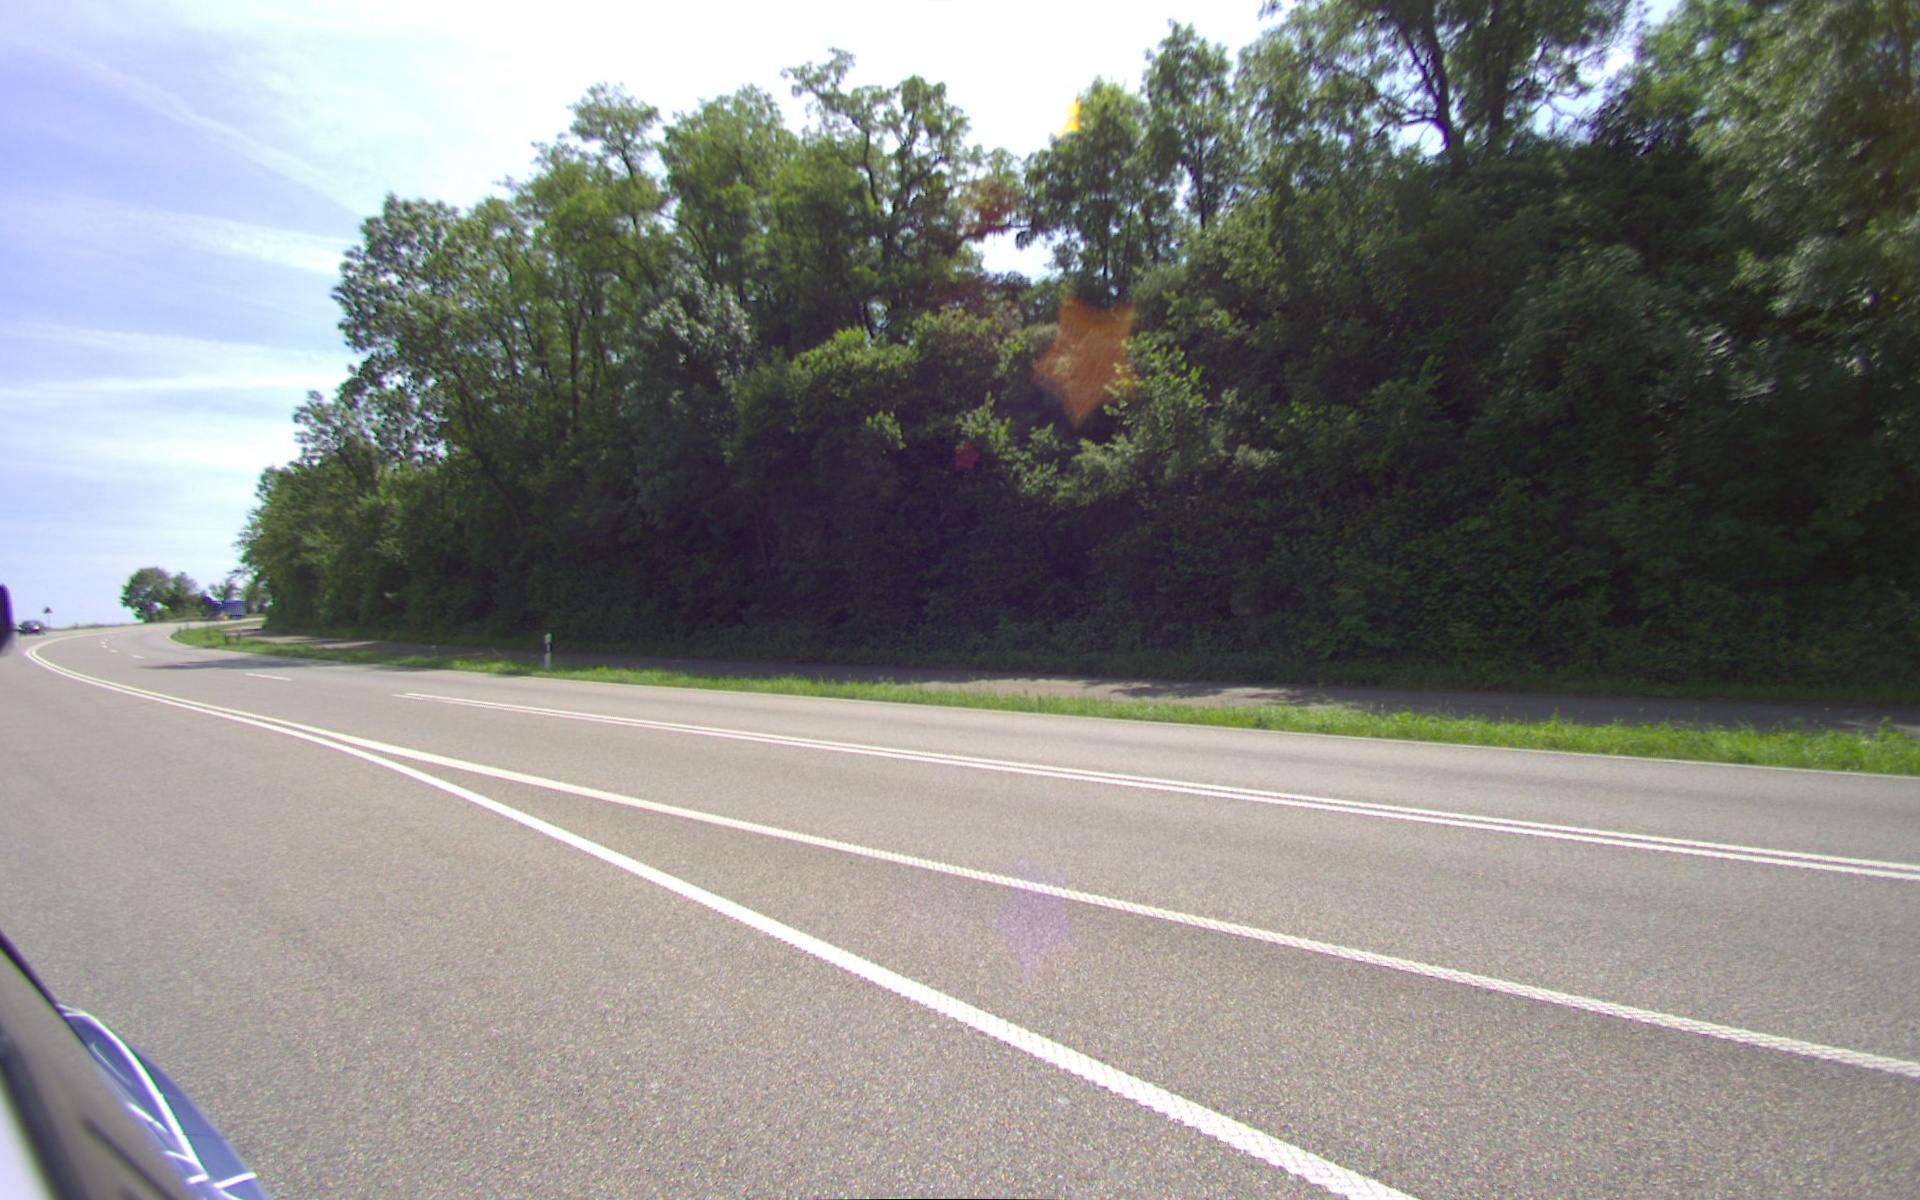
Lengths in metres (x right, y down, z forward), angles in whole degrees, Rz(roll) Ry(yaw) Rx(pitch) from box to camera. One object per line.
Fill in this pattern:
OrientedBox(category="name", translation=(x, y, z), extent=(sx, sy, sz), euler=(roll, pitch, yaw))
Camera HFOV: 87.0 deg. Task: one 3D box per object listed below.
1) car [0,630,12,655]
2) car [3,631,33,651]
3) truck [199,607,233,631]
OrientedBox(category="car", translation=(-83.352, 3.700, 87.405), extent=(1.823, 2.029, 3.880), euler=(0, 0, -38))
OrientedBox(category="car", translation=(-93.867, 4.069, 100.889), extent=(1.739, 1.874, 3.818), euler=(0, 0, -37))
OrientedBox(category="truck", translation=(-145.199, 3.671, 197.701), extent=(4.327, 4.493, 14.752), euler=(-1, -1, -33))
